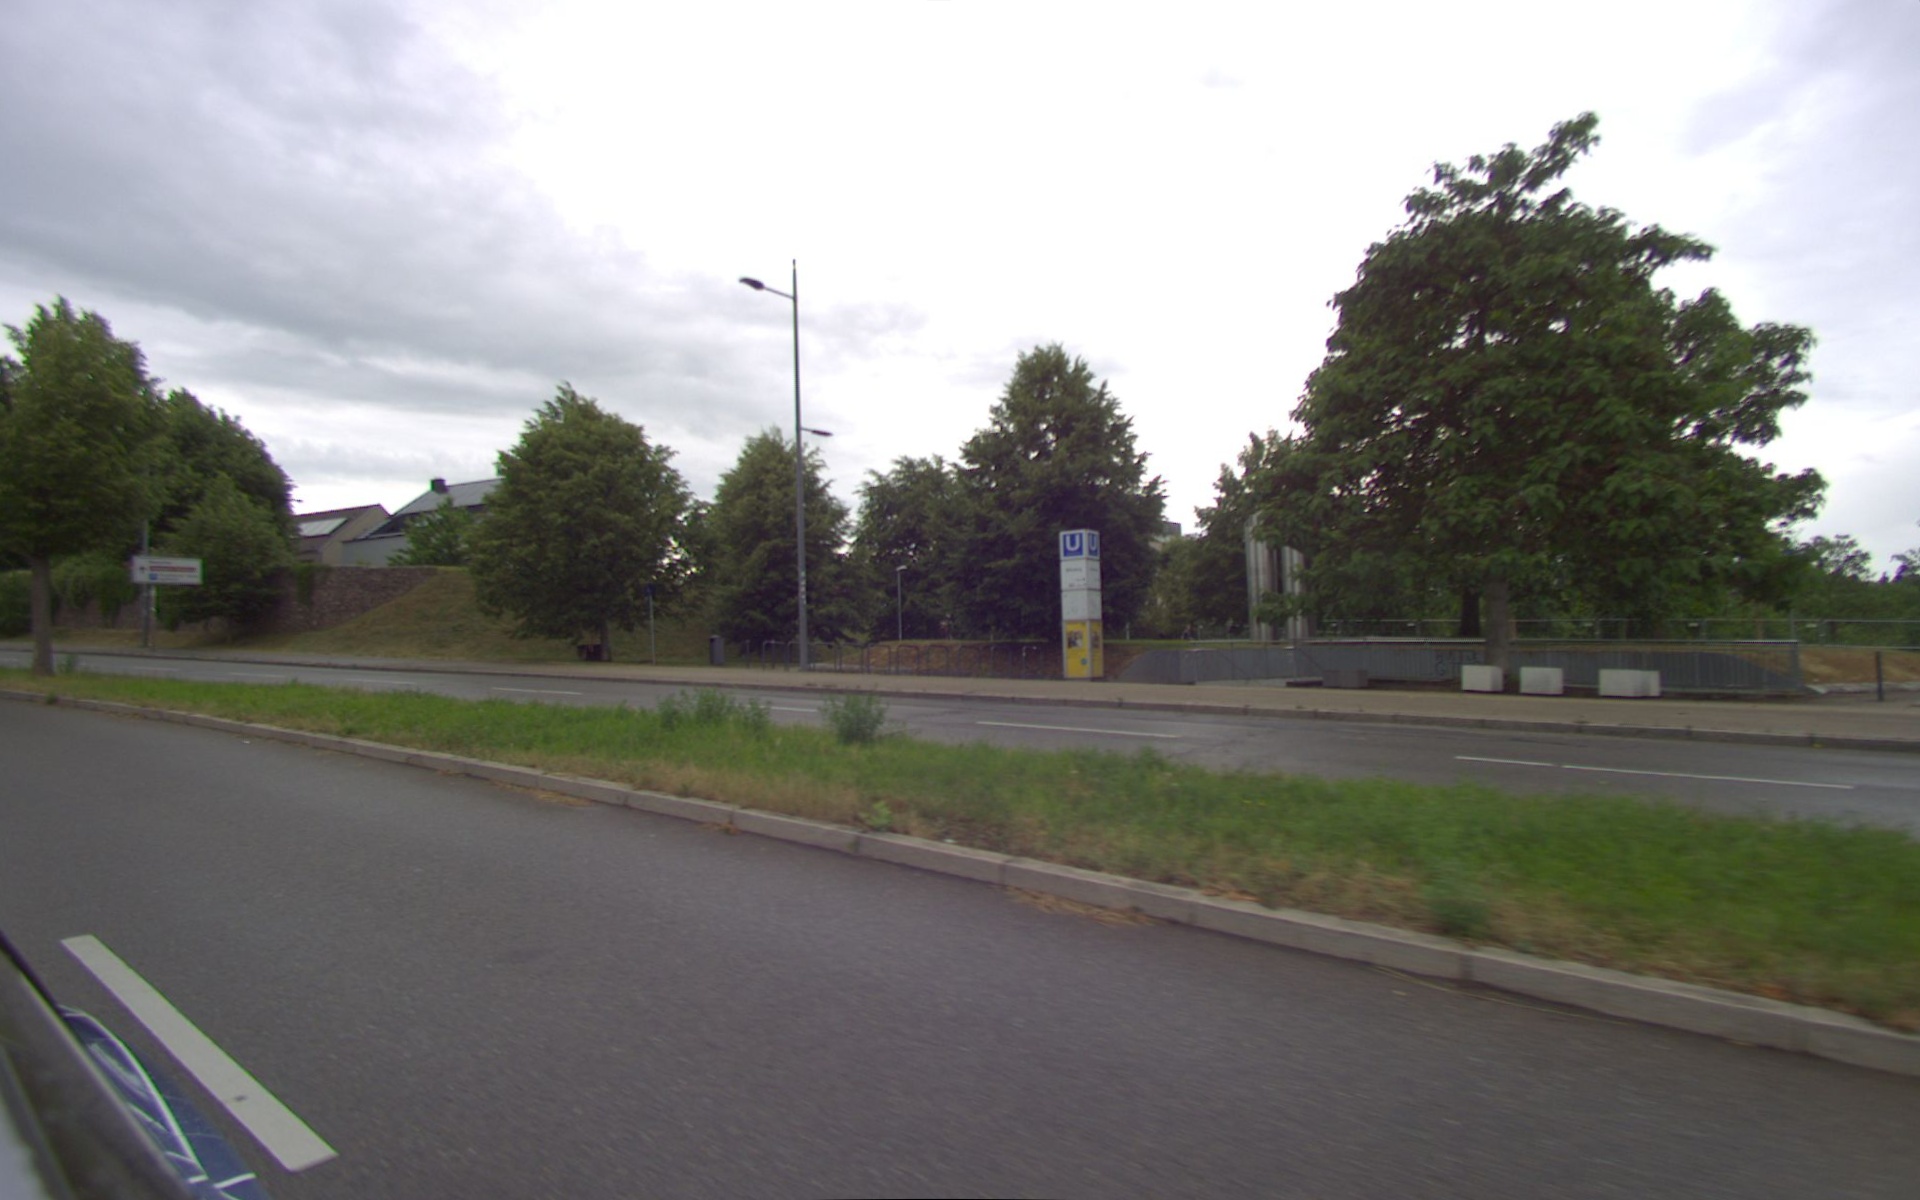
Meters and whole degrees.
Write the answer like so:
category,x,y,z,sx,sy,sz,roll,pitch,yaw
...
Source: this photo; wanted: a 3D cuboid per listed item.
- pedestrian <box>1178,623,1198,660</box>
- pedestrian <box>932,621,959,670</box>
category,x,y,z,sx,sy,sz,roll,pitch,yaw
pedestrian,11.028,2.009,49.015,0.647,1.741,0.745,0,-1,41
pedestrian,-0.537,1.656,37.247,0.754,1.741,0.640,0,-1,36
